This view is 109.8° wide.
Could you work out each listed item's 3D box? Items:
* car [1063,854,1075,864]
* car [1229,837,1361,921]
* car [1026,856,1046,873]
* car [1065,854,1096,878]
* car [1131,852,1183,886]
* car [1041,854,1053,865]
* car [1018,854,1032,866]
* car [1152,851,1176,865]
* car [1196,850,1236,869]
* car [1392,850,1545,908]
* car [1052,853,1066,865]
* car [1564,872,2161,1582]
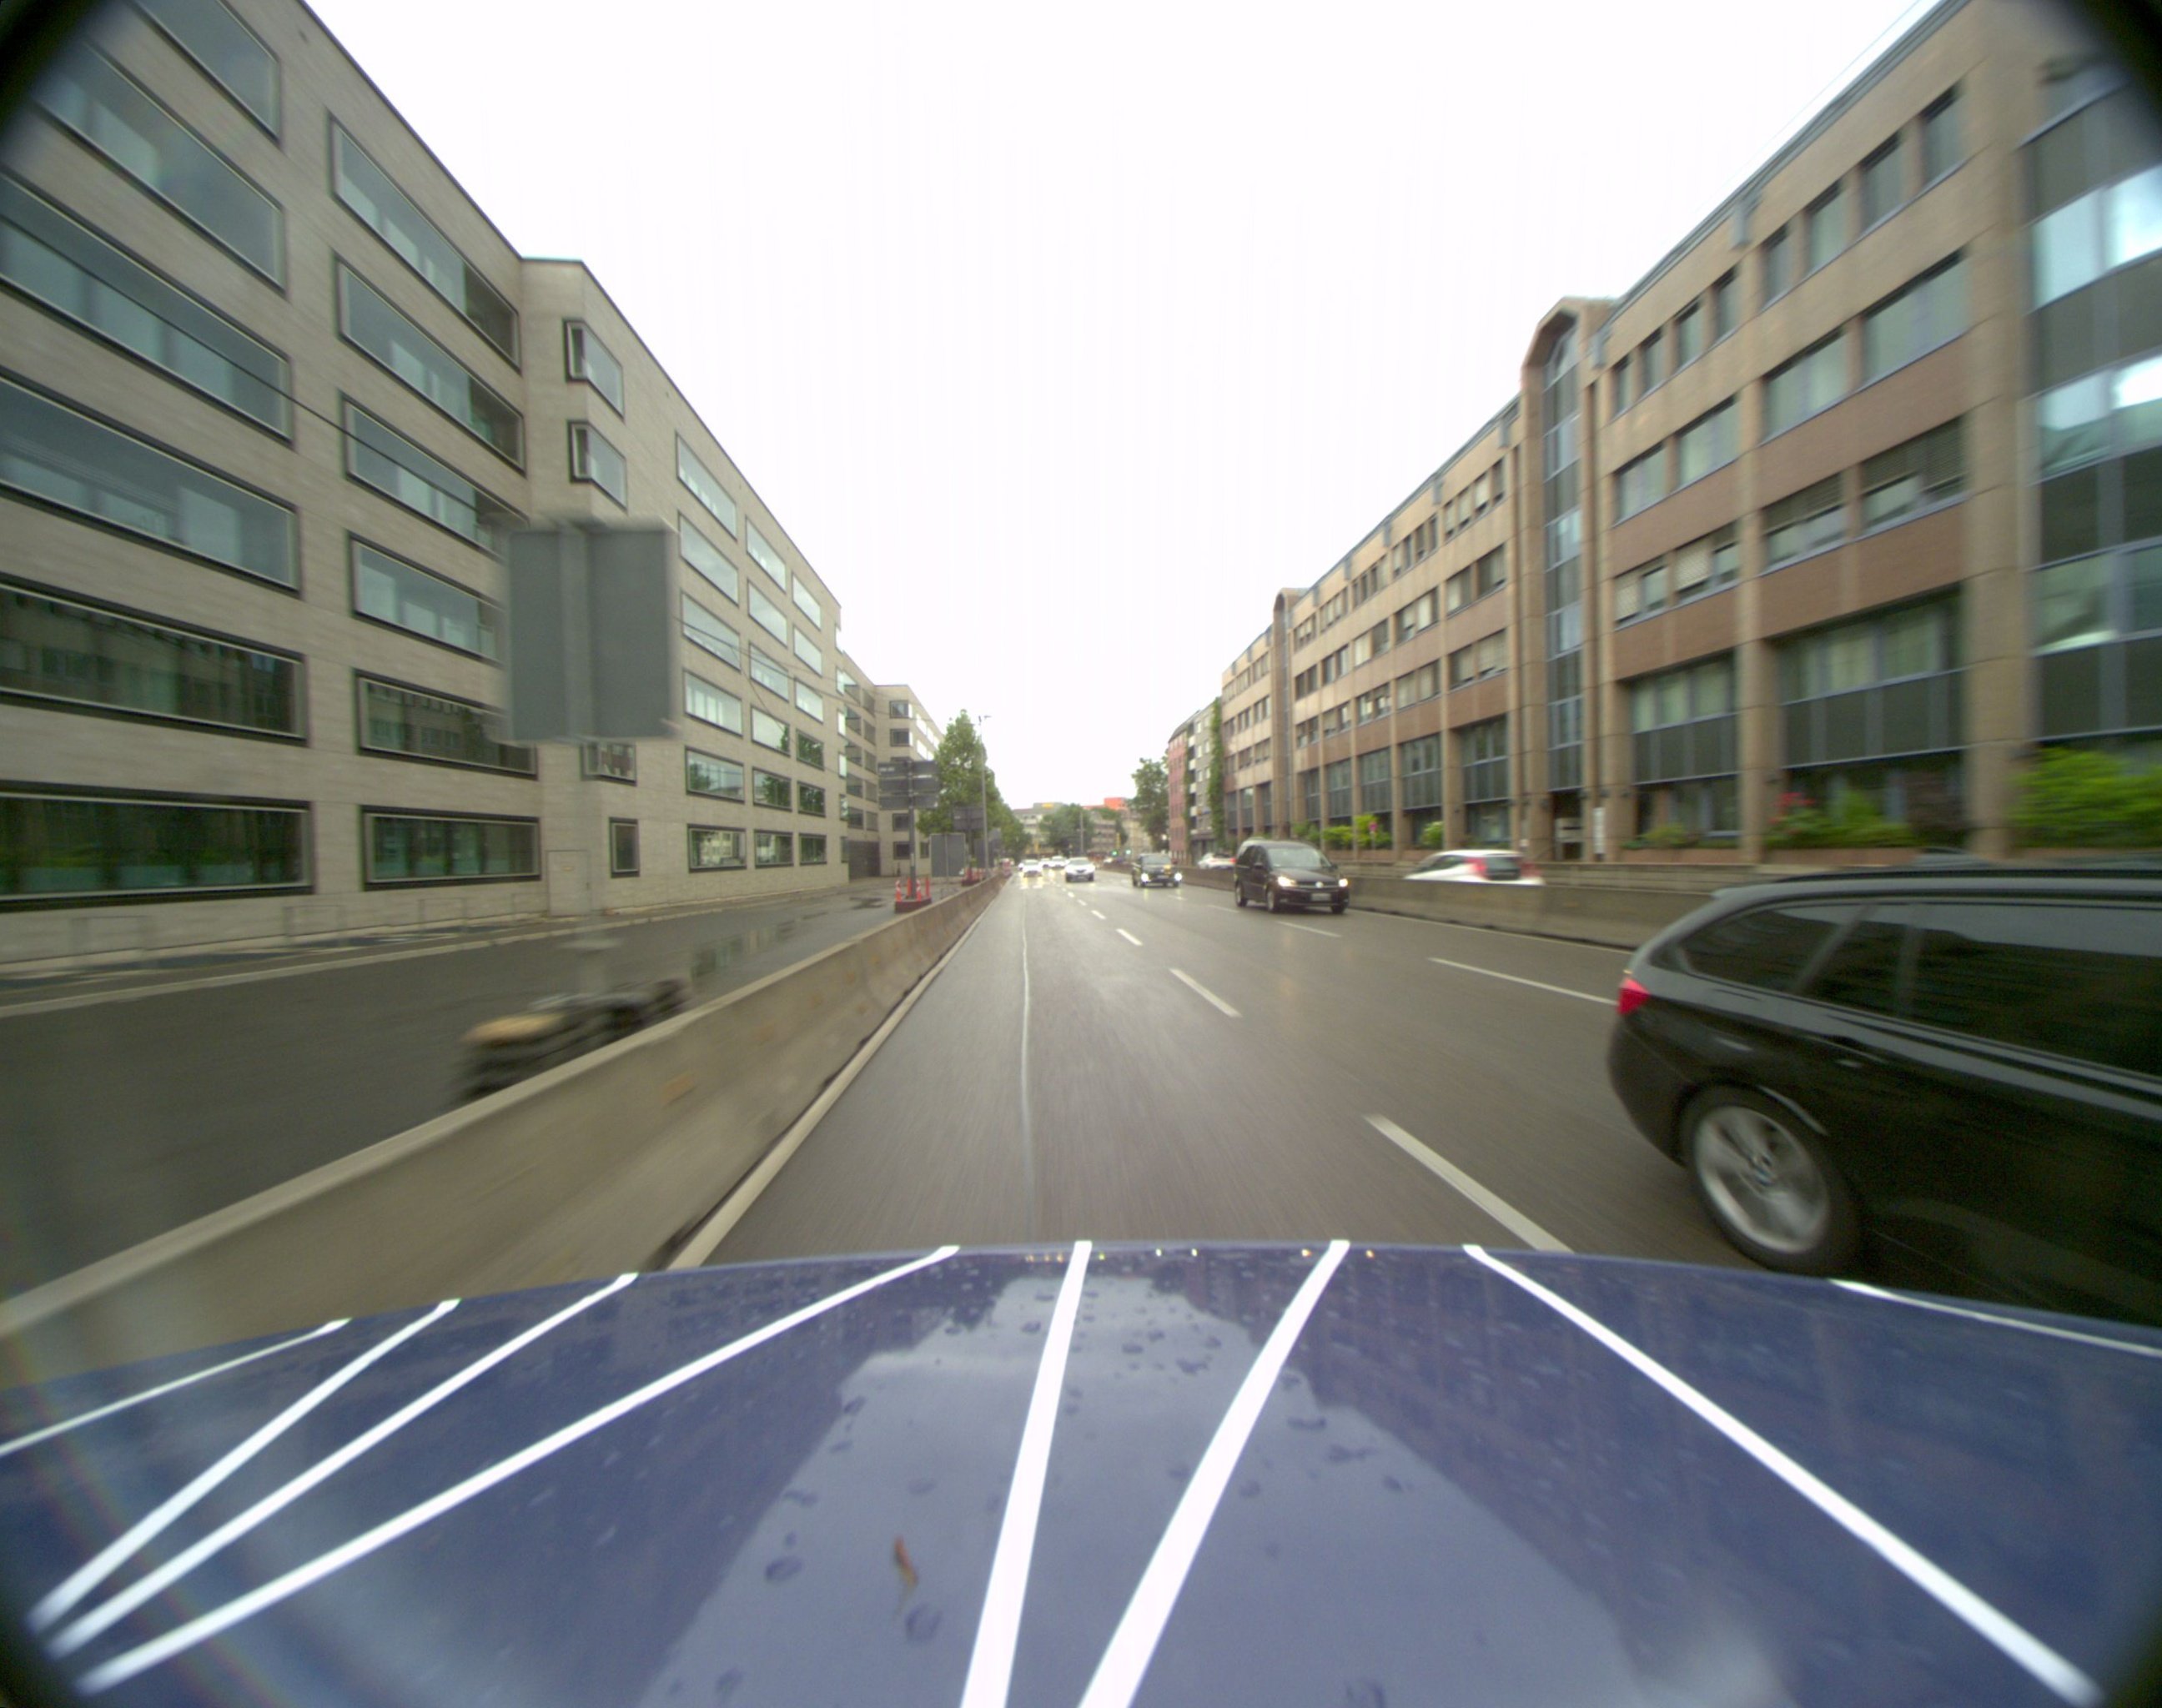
[{"bbox_3d":[-2.060,0.849,127.067,1.773,1.524,4.654,-2,0,-4],"label":"car"},{"bbox_3d":[5.132,0.549,18.844,1.799,1.790,4.249,-2,0,-3],"label":"car"},{"bbox_3d":[-4.231,0.932,71.174,1.773,1.524,4.654,-2,0,-4],"label":"car"},{"bbox_3d":[-0.092,0.812,52.332,1.773,1.524,4.654,-2,0,-4],"label":"car"},{"bbox_3d":[3.605,0.689,36.805,1.773,1.524,4.354,-2,0,-4],"label":"car"},{"bbox_3d":[-5.330,0.863,119.602,1.773,1.524,4.654,-2,0,-4],"label":"car"},{"bbox_3d":[-7.593,0.759,103.551,1.773,1.524,4.654,-2,0,-4],"label":"car"},{"bbox_3d":[8.210,0.391,75.110,1.724,1.312,3.695,-2,0,-4],"label":"car"},{"bbox_3d":[9.616,0.371,54.380,1.849,1.262,4.548,-2,0,-3],"label":"car"},{"bbox_3d":[9.235,0.547,18.482,1.617,1.224,3.725,-2,0,-4],"label":"car"},{"bbox_3d":[-3.102,0.720,105.502,1.773,1.524,4.654,-2,0,-4],"label":"car"},{"bbox_3d":[3.220,0.831,1.220,1.772,1.435,4.655,-2,0,-2],"label":"car"}]
